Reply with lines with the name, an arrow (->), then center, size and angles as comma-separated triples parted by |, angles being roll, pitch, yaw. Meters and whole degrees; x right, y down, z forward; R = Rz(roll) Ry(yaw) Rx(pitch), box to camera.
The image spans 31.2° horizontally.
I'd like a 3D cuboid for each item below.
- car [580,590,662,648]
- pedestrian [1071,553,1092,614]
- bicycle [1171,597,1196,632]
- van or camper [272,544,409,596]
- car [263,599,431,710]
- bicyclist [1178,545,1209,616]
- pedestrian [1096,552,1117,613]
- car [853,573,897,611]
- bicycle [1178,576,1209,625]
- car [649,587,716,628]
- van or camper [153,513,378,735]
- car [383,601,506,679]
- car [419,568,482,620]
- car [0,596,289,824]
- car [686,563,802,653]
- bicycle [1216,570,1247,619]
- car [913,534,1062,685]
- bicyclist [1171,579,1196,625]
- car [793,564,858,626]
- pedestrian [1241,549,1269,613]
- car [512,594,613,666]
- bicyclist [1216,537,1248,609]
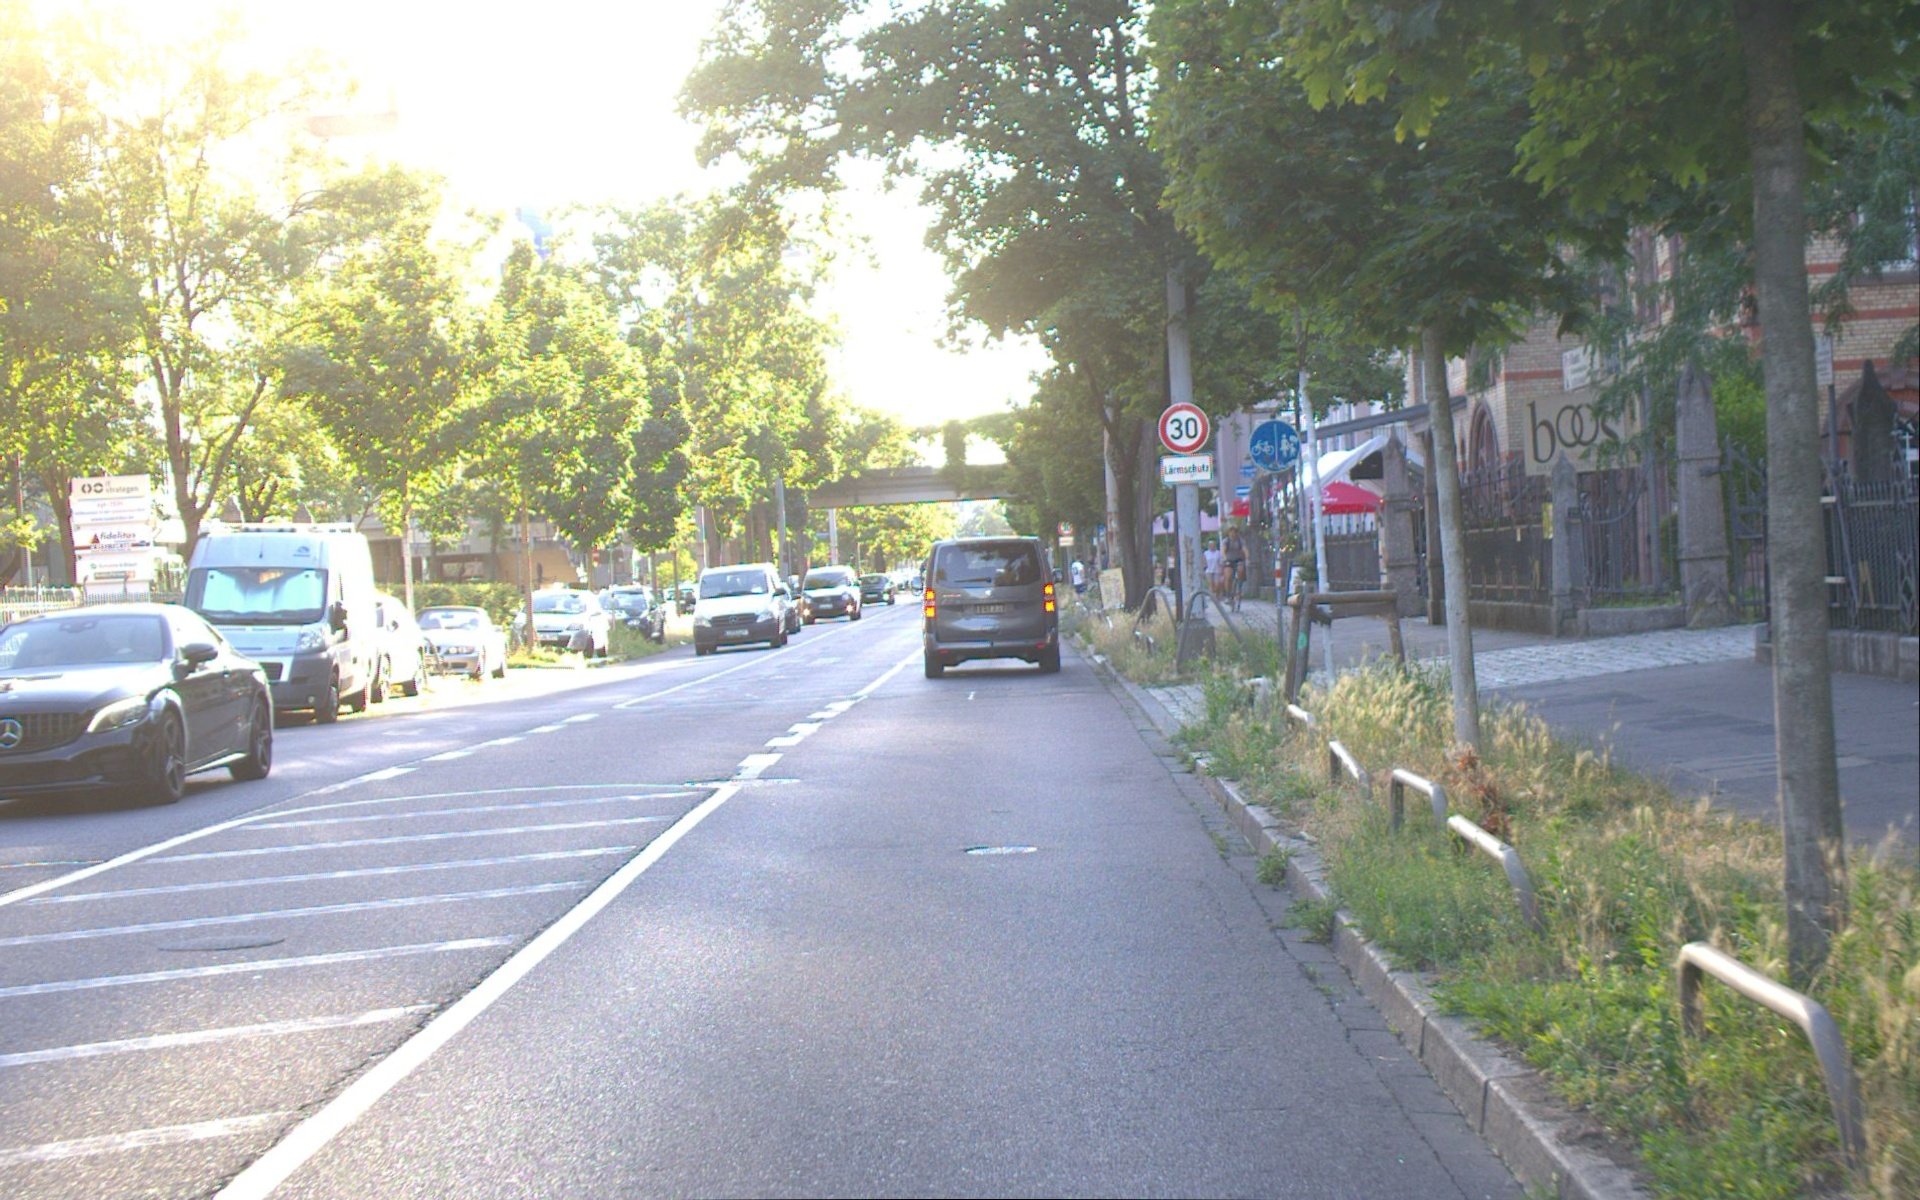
car -> -8.518, 0.467, 86.562 | 1.638, 1.381, 4.000 | -1, 1, 0
pedestrian -> 3.813, -0.524, 107.925 | 0.504, 1.882, 0.545 | -1, 0, -14
bicycle -> 6.036, 0.393, 92.757 | 0.579, 0.894, 1.987 | -1, 0, 1
van or camper -> -31.737, -1.544, 176.318 | 6.563, 2.513, 2.449 | -1, 0, 0
car -> -9.217, 0.791, 51.954 | 1.746, 1.529, 4.302 | -1, 1, 0
bicyclist -> 5.046, -0.429, 74.372 | 0.595, 1.527, 0.893 | -1, 0, 1
pedestrian -> 4.579, -0.549, 107.507 | 0.504, 1.882, 0.545 | -1, 0, -14
car -> -3.845, -0.371, 155.865 | 1.679, 1.525, 4.000 | -5, 0, 1
bicycle -> 5.040, 0.006, 74.348 | 0.544, 1.036, 2.089 | -1, 0, 1
car -> -10.126, 0.276, 125.597 | 1.993, 1.409, 4.237 | -1, 1, 1
van or camper -> -8.957, 0.265, 44.823 | 1.993, 2.659, 6.039 | -1, 0, -3
car -> -8.810, 0.667, 58.982 | 1.536, 1.244, 3.614 | -1, 1, 0
car -> -23.387, -0.308, 158.028 | 1.993, 2.300, 5.245 | -1, 0, 1
car -> -6.226, 0.738, 24.704 | 1.766, 1.397, 4.545 | -3, 1, 1
car -> -4.801, 0.146, 77.090 | 1.994, 1.825, 5.169 | -4, 0, 2
bicycle -> 5.796, -0.122, 73.460 | 0.517, 1.036, 2.089 | -1, 0, 1
car -> 0.424, 0.098, 48.113 | 1.887, 1.918, 3.839 | -3, 1, 2
bicyclist -> 6.033, 0.058, 92.825 | 0.585, 1.232, 1.112 | -1, 0, 1
car -> -4.357, -0.171, 111.818 | 1.833, 1.846, 4.474 | -4, 0, 0
pedestrian -> 7.500, -0.487, 87.477 | 0.644, 1.627, 0.656 | -1, 0, 1
car -> -8.531, 0.630, 73.995 | 1.697, 1.447, 4.000 | -1, 1, 0
bicyclist -> 5.823, -0.575, 73.524 | 0.595, 1.527, 0.893 | -1, 0, 1
